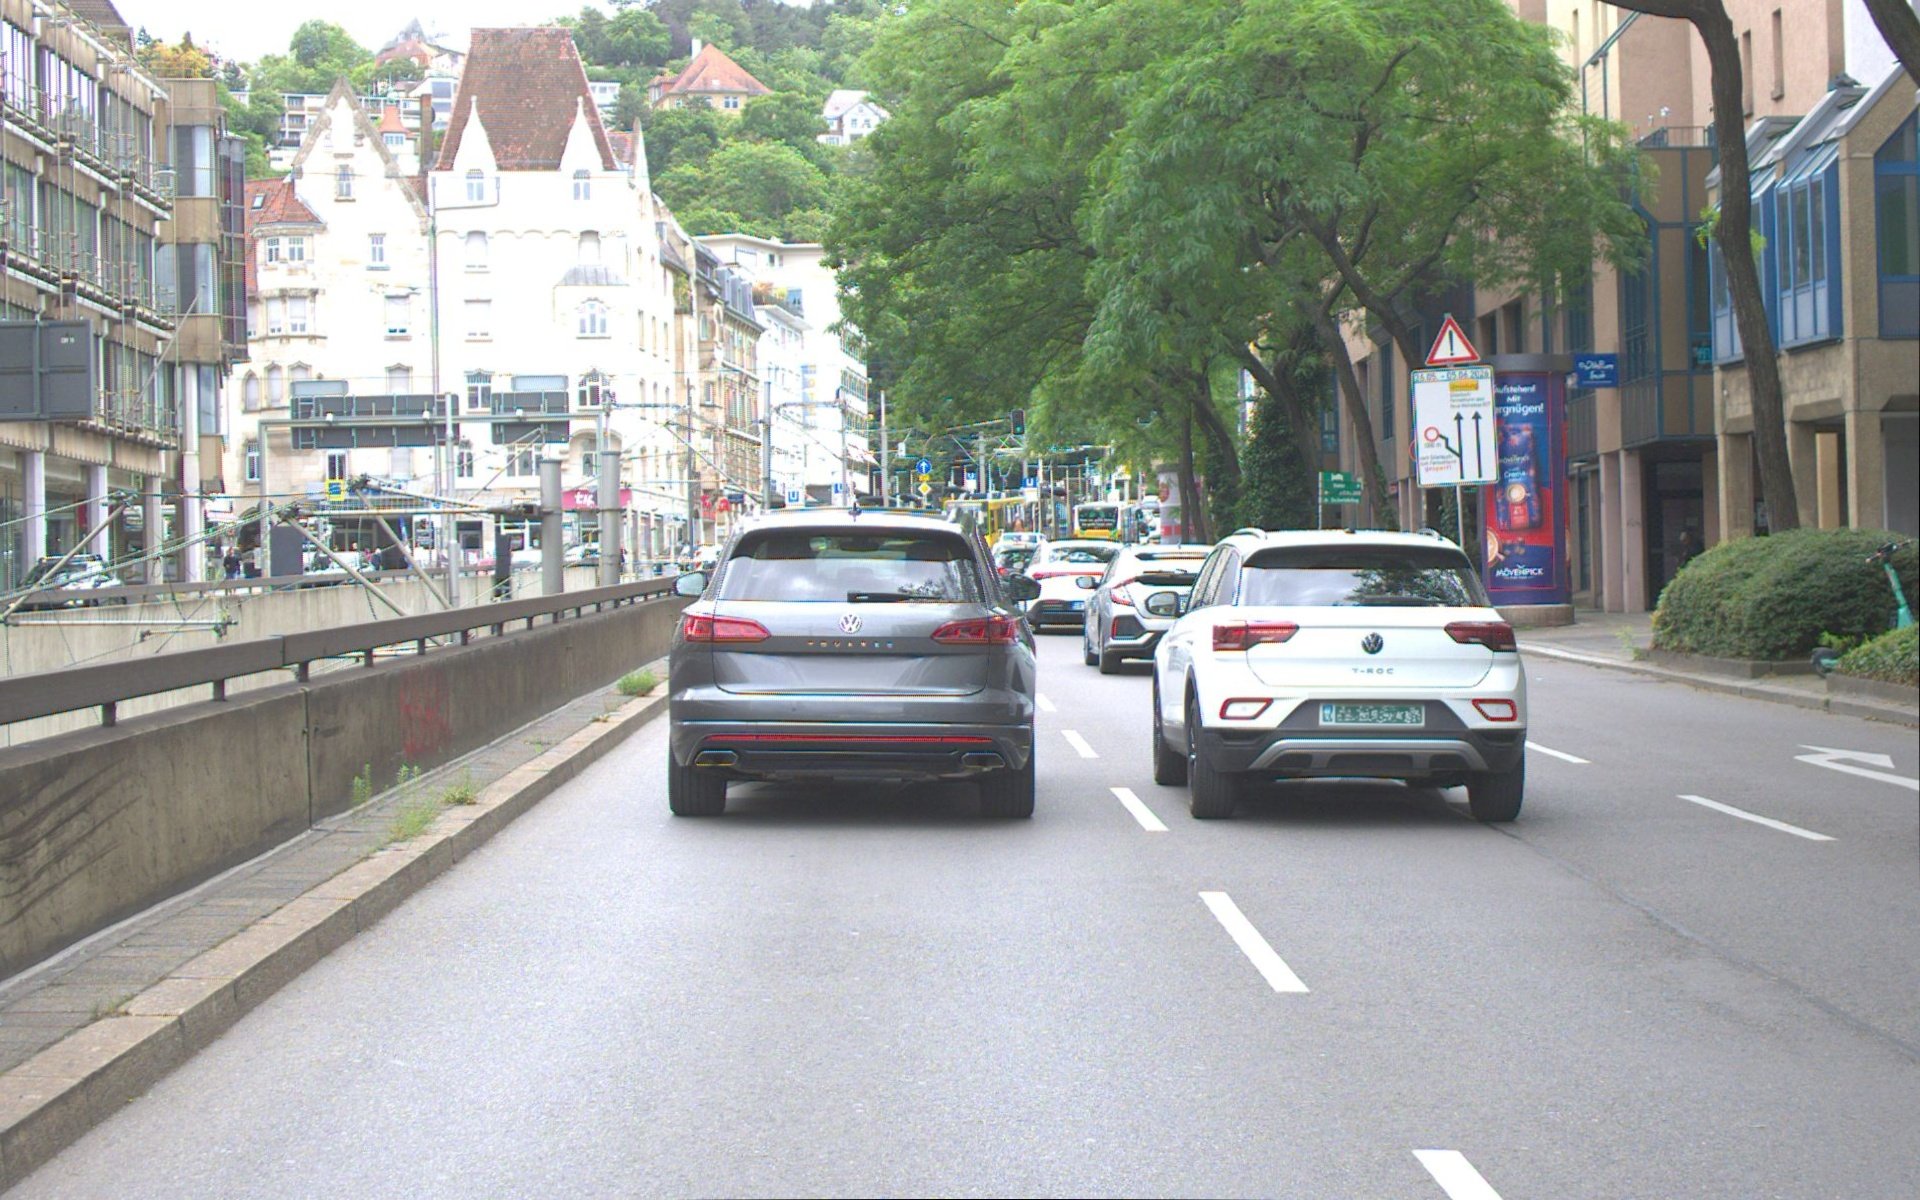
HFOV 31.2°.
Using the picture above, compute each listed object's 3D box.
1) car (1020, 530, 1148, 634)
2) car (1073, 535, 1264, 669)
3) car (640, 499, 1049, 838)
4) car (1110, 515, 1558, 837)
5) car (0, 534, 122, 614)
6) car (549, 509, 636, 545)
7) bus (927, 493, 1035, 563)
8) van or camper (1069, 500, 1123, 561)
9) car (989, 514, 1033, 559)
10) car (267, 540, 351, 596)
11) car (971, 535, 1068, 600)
[{"bbox_3d":[1.924,-0.302,54.372,1.832,1.512,3.767,-2,1,0],"label":"car"},{"bbox_3d":[2.292,0.027,38.763,1.833,1.427,4.147,0,0,-1],"label":"car"},{"bbox_3d":[-0.768,0.287,19.389,1.970,1.690,4.225,0,1,-6],"label":"car"},{"bbox_3d":[1.988,0.343,19.420,1.797,1.540,3.936,1,2,-4],"label":"car"},{"bbox_3d":[-20.813,-0.623,79.223,1.993,1.761,4.281,-1,1,-1],"label":"car"},{"bbox_3d":[-17.927,-3.557,167.700,3.986,1.641,1.825,-1,1,-14],"label":"car"},{"bbox_3d":[1.271,-3.905,185.077,3.850,3.520,17.242,-1,1,7],"label":"bus"},{"bbox_3d":[7.261,-3.709,183.266,2.628,3.167,5.802,-1,1,4],"label":"van or camper"},{"bbox_3d":[2.205,-2.787,150.382,1.832,1.868,4.871,-2,1,1],"label":"car"},{"bbox_3d":[-21.592,-1.076,114.183,1.993,1.761,4.281,-1,1,-1],"label":"car"},{"bbox_3d":[1.314,-0.731,76.898,1.832,1.358,3.768,-2,1,-3],"label":"car"}]
